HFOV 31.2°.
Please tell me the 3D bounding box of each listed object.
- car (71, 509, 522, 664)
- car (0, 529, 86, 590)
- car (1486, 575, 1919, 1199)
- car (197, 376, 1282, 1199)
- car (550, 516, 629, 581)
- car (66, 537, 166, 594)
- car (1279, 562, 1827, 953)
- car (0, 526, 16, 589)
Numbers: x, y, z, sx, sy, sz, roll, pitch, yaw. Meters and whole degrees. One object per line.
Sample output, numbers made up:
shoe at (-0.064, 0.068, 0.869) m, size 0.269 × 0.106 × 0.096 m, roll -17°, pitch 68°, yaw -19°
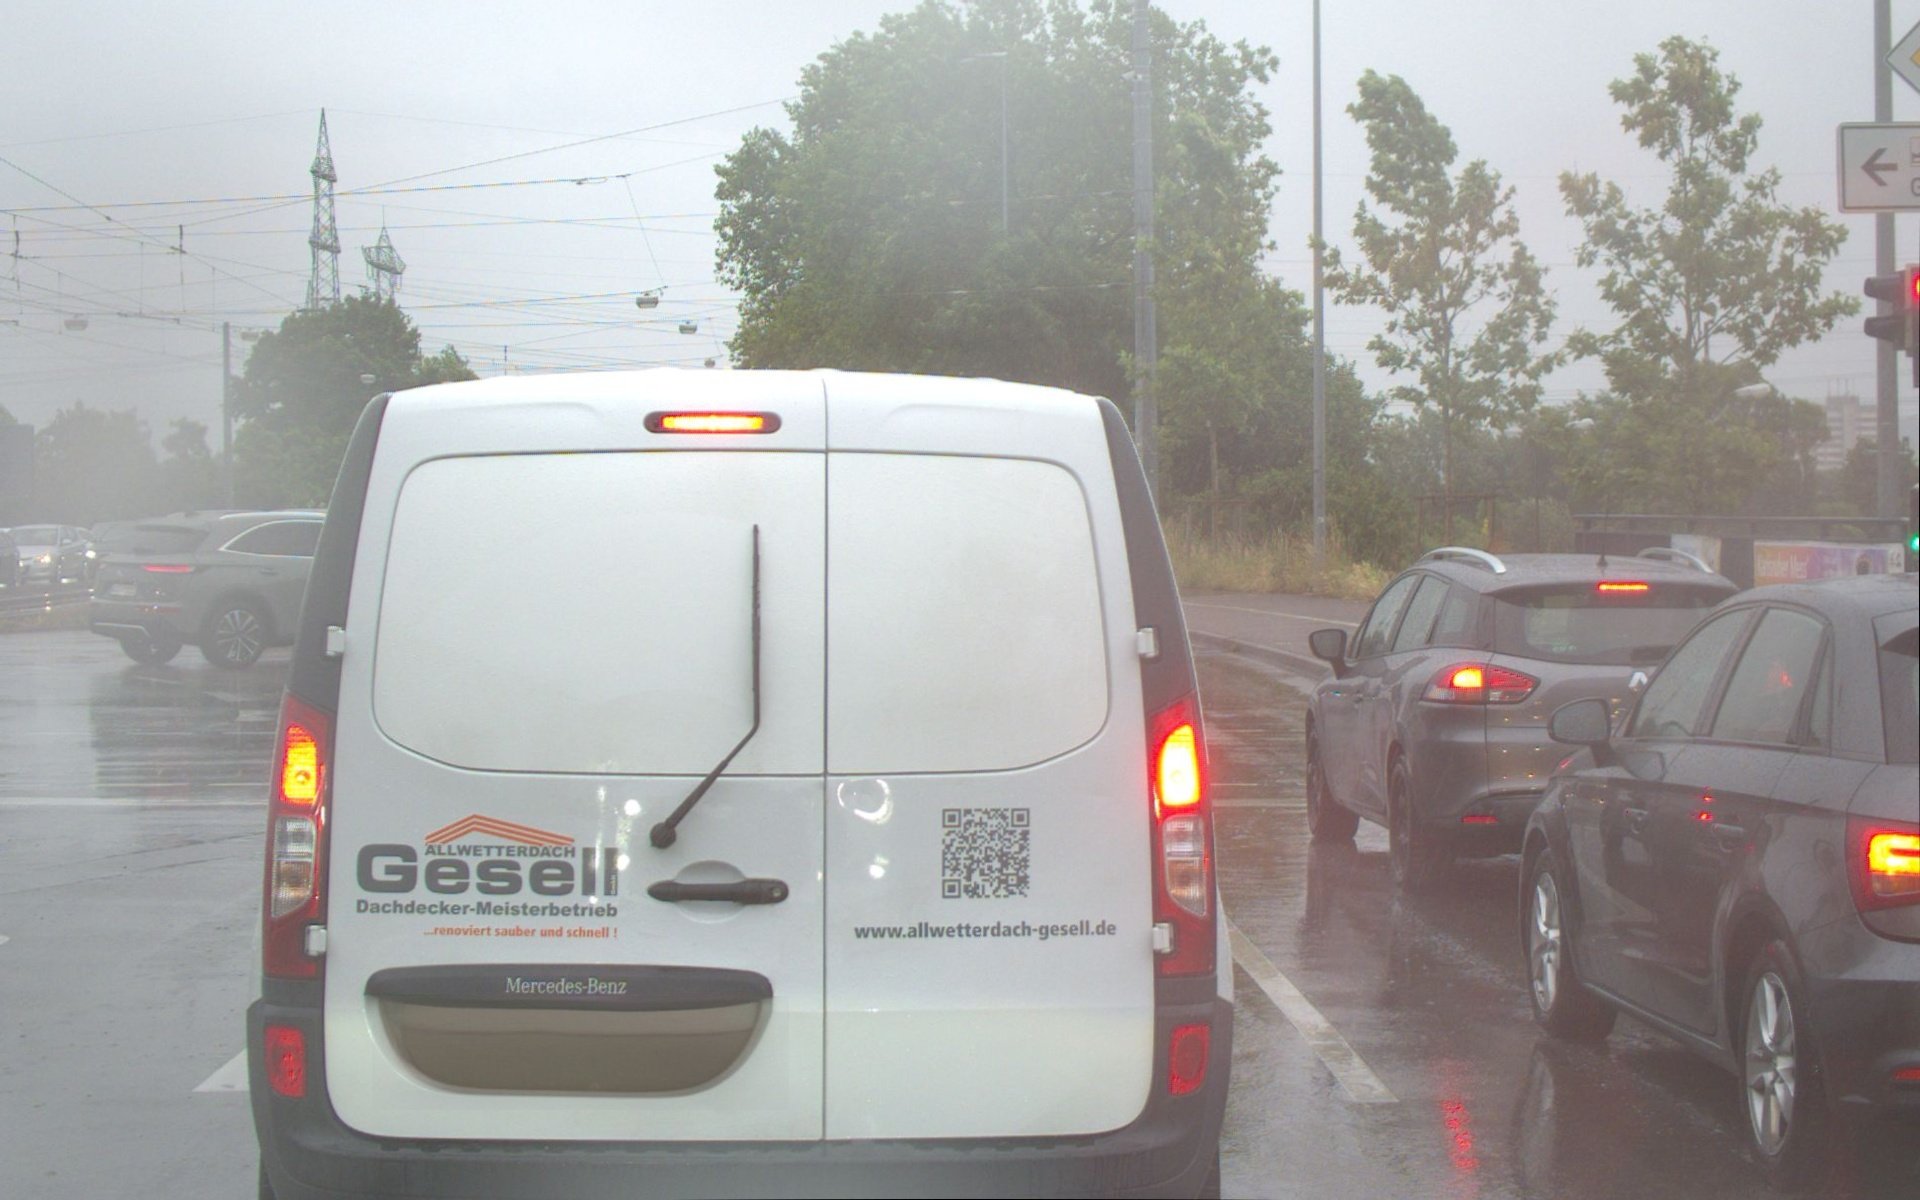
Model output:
car at (-7.056, -0.127, 36.868) m, size 4.497 × 1.496 × 1.713 m, roll 2°, pitch 0°, yaw -44°
car at (-22.553, -0.975, 83.885) m, size 1.559 × 1.421 × 3.569 m, roll 2°, pitch 0°, yaw -1°
car at (2.535, 0.627, 8.961) m, size 1.597 × 1.362 × 3.631 m, roll -1°, pitch 0°, yaw -3°
car at (-0.502, 0.454, 7.689) m, size 1.754 × 1.744 × 4.170 m, roll 1°, pitch 2°, yaw -4°
car at (-10.209, -1.403, 94.963) m, size 1.947 × 1.656 × 4.465 m, roll 2°, pitch 0°, yaw -4°
car at (-22.358, -0.893, 91.197) m, size 1.710 × 1.421 × 3.809 m, roll 2°, pitch 0°, yaw -1°
car at (2.530, 0.604, 15.571) m, size 1.684 × 1.503 × 3.921 m, roll 1°, pitch 1°, yaw -1°
car at (-22.534, -0.995, 77.397) m, size 1.559 × 1.421 × 3.569 m, roll 2°, pitch 0°, yaw -1°
